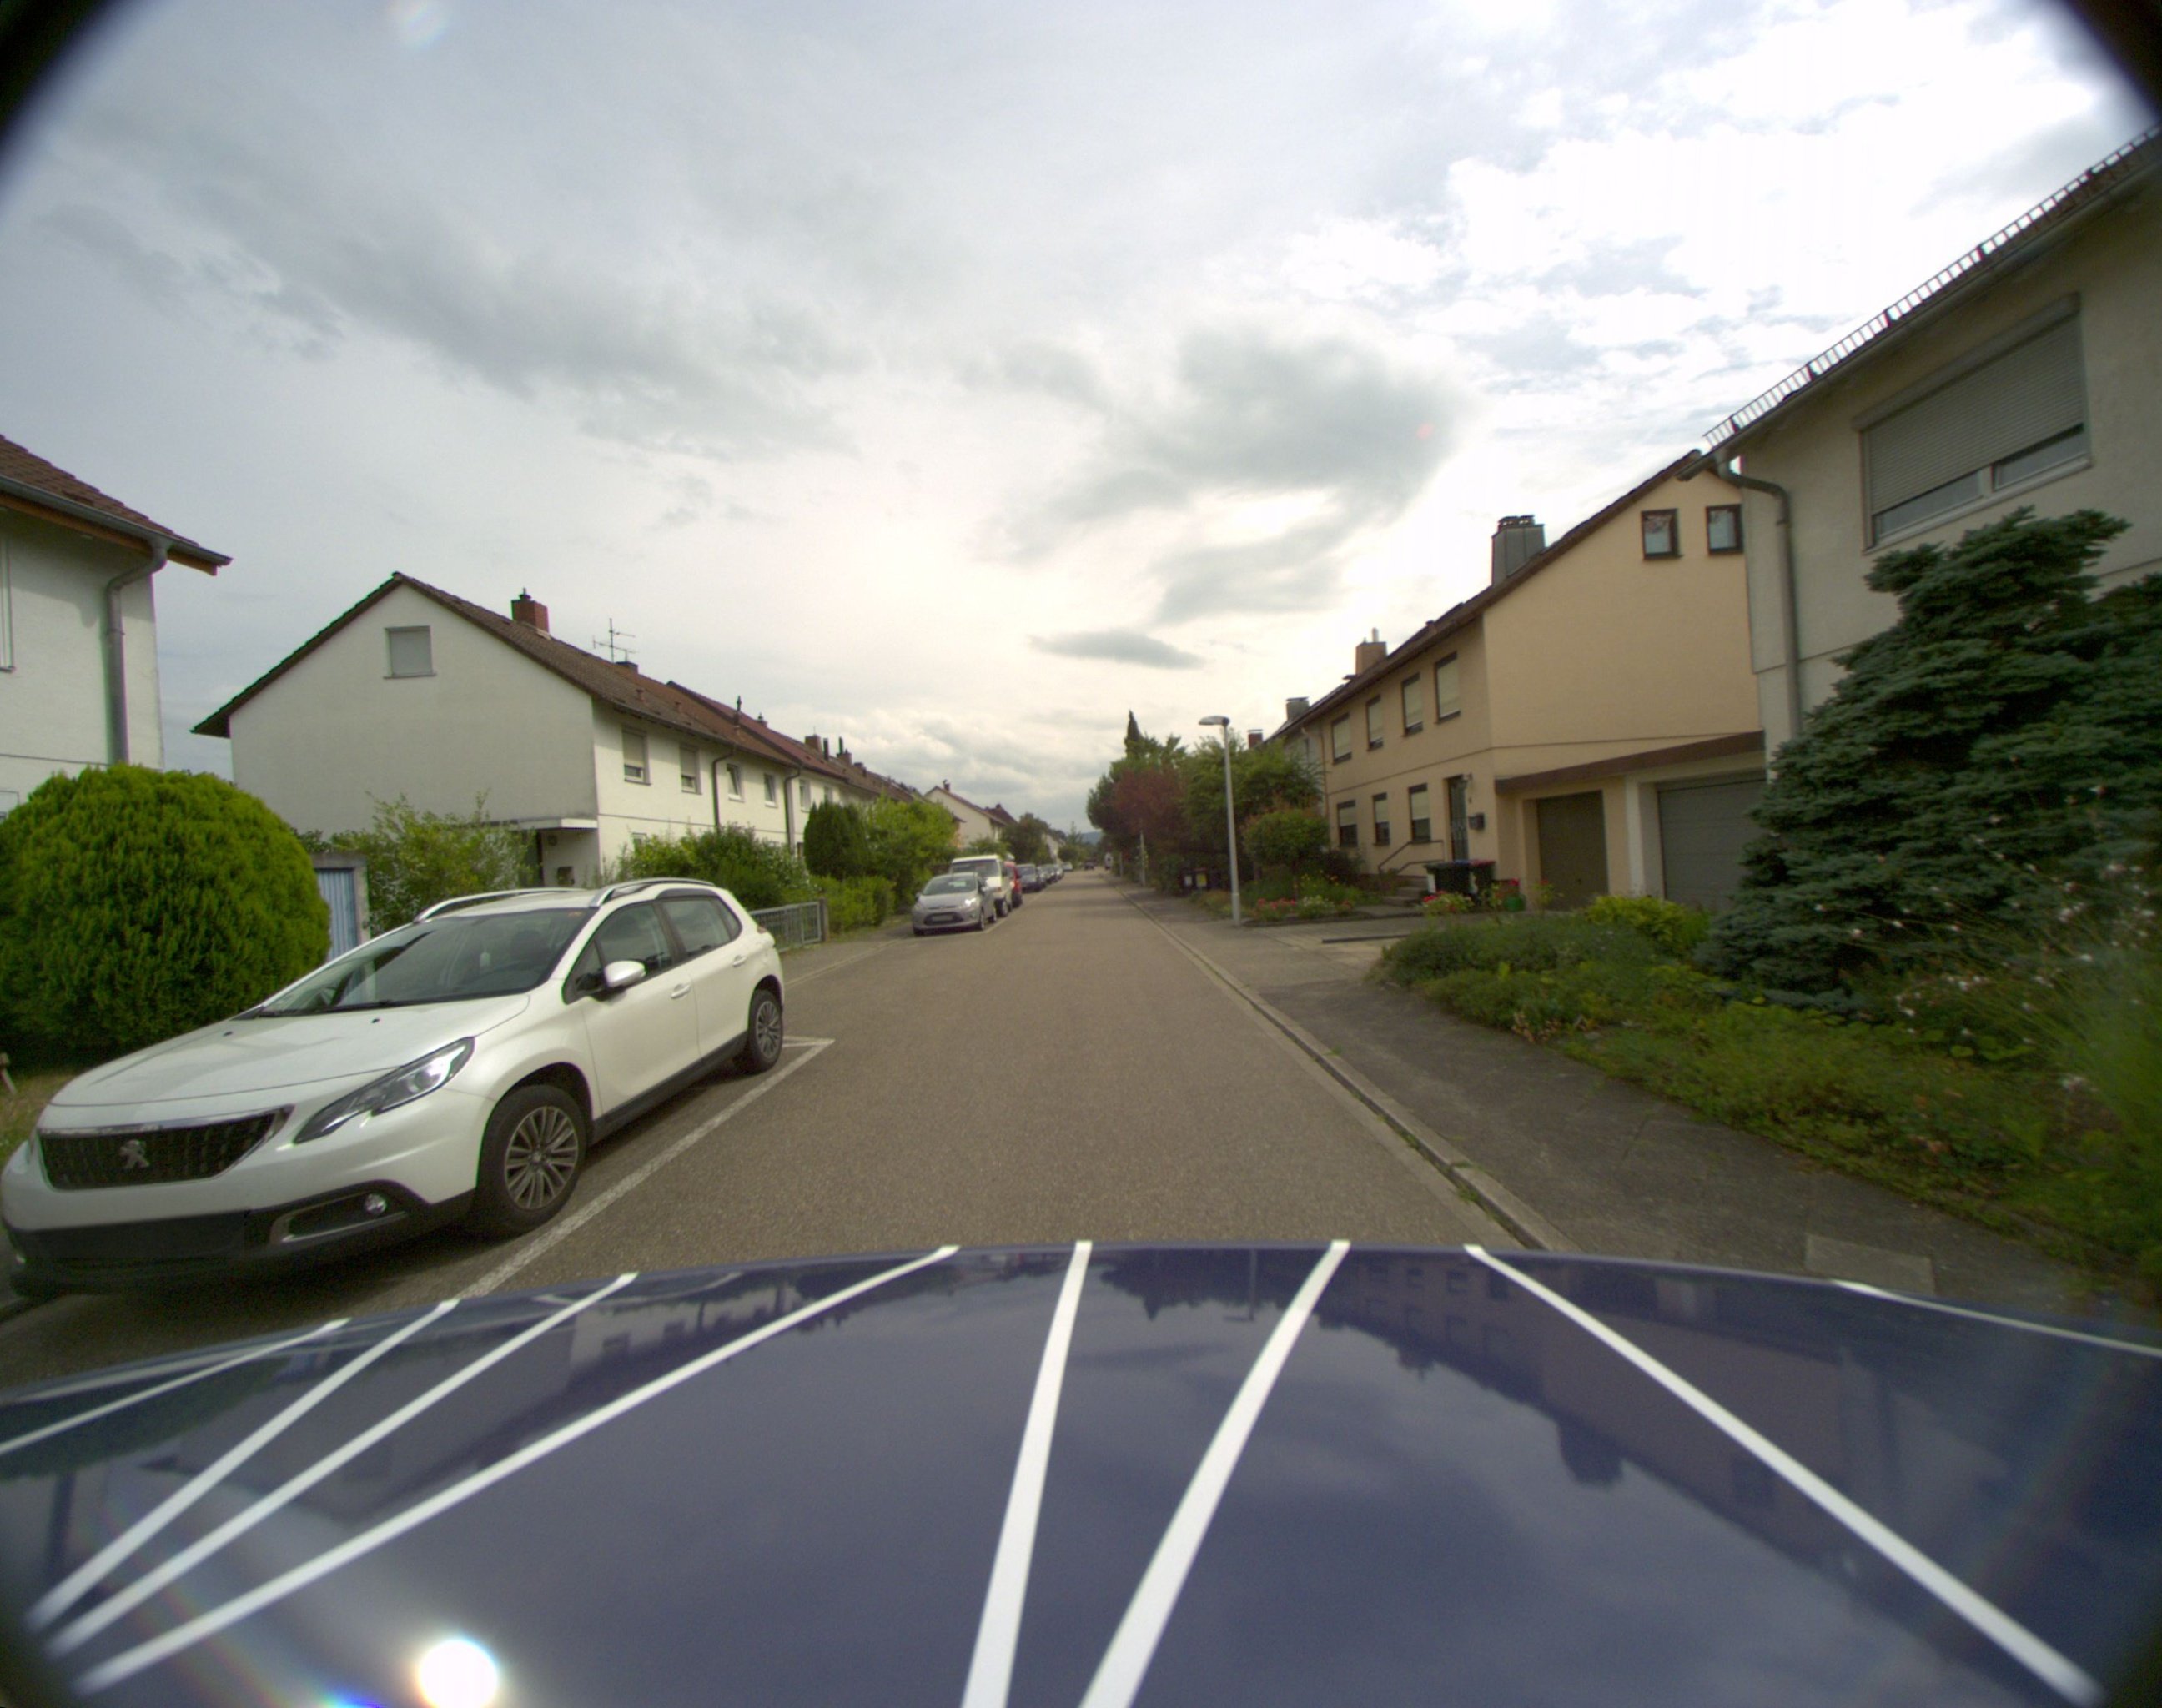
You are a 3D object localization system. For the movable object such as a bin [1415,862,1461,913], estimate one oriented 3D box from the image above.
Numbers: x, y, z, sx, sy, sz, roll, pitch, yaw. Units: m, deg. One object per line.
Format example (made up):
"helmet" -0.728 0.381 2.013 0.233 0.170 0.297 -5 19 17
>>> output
"movable object such as a bin" 7.304 0.688 15.567 0.654 0.997 0.542 -2 0 0

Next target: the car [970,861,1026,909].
"car" -3.166 1.158 29.704 1.815 1.641 4.409 -3 0 -3

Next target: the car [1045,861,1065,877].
"car" -2.589 1.523 76.291 1.746 1.462 4.218 -3 0 1

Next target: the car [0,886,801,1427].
"car" -3.311 1.101 4.480 1.718 1.534 3.973 -5 0 0

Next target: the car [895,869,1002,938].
"car" -3.274 1.176 19.600 1.905 1.451 4.130 -3 0 1

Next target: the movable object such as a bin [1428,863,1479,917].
"movable object such as a bin" 7.323 0.697 14.953 0.654 1.015 0.633 -2 0 0

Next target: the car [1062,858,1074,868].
"car" -2.221 1.545 128.977 1.999 1.589 3.999 -3 0 -3

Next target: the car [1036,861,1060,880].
"car" -2.723 1.346 63.838 1.753 1.458 4.648 -3 0 0

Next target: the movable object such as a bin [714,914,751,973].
"movable object such as a bin" -5.867 1.501 12.803 0.408 0.916 0.421 -2 0 -4

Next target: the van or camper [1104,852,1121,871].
"van or camper" 4.947 1.187 119.288 2.346 2.719 5.748 -3 0 1

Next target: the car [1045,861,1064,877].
"car" -2.640 1.514 76.161 1.708 1.433 4.220 -5 0 -2

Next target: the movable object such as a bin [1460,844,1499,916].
"movable object such as a bin" 7.894 0.512 15.073 0.411 1.377 0.610 -2 0 0

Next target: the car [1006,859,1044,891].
"car" -3.178 1.152 43.875 1.872 1.643 4.464 -3 0 -1

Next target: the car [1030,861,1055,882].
"car" -2.942 1.341 58.182 1.737 1.419 4.125 -3 0 -2

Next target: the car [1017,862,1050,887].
"car" -3.096 1.346 50.316 1.872 1.399 4.767 -5 0 -2

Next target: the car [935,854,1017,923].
"car" -3.295 1.032 24.704 2.026 1.936 4.747 -3 0 -1

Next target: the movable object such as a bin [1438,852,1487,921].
"movable object such as a bin" 7.906 0.671 15.754 0.654 1.377 0.633 -2 0 0

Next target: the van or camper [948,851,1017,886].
"van or camper" -8.823 1.278 68.471 5.815 2.801 2.536 -3 0 -3
